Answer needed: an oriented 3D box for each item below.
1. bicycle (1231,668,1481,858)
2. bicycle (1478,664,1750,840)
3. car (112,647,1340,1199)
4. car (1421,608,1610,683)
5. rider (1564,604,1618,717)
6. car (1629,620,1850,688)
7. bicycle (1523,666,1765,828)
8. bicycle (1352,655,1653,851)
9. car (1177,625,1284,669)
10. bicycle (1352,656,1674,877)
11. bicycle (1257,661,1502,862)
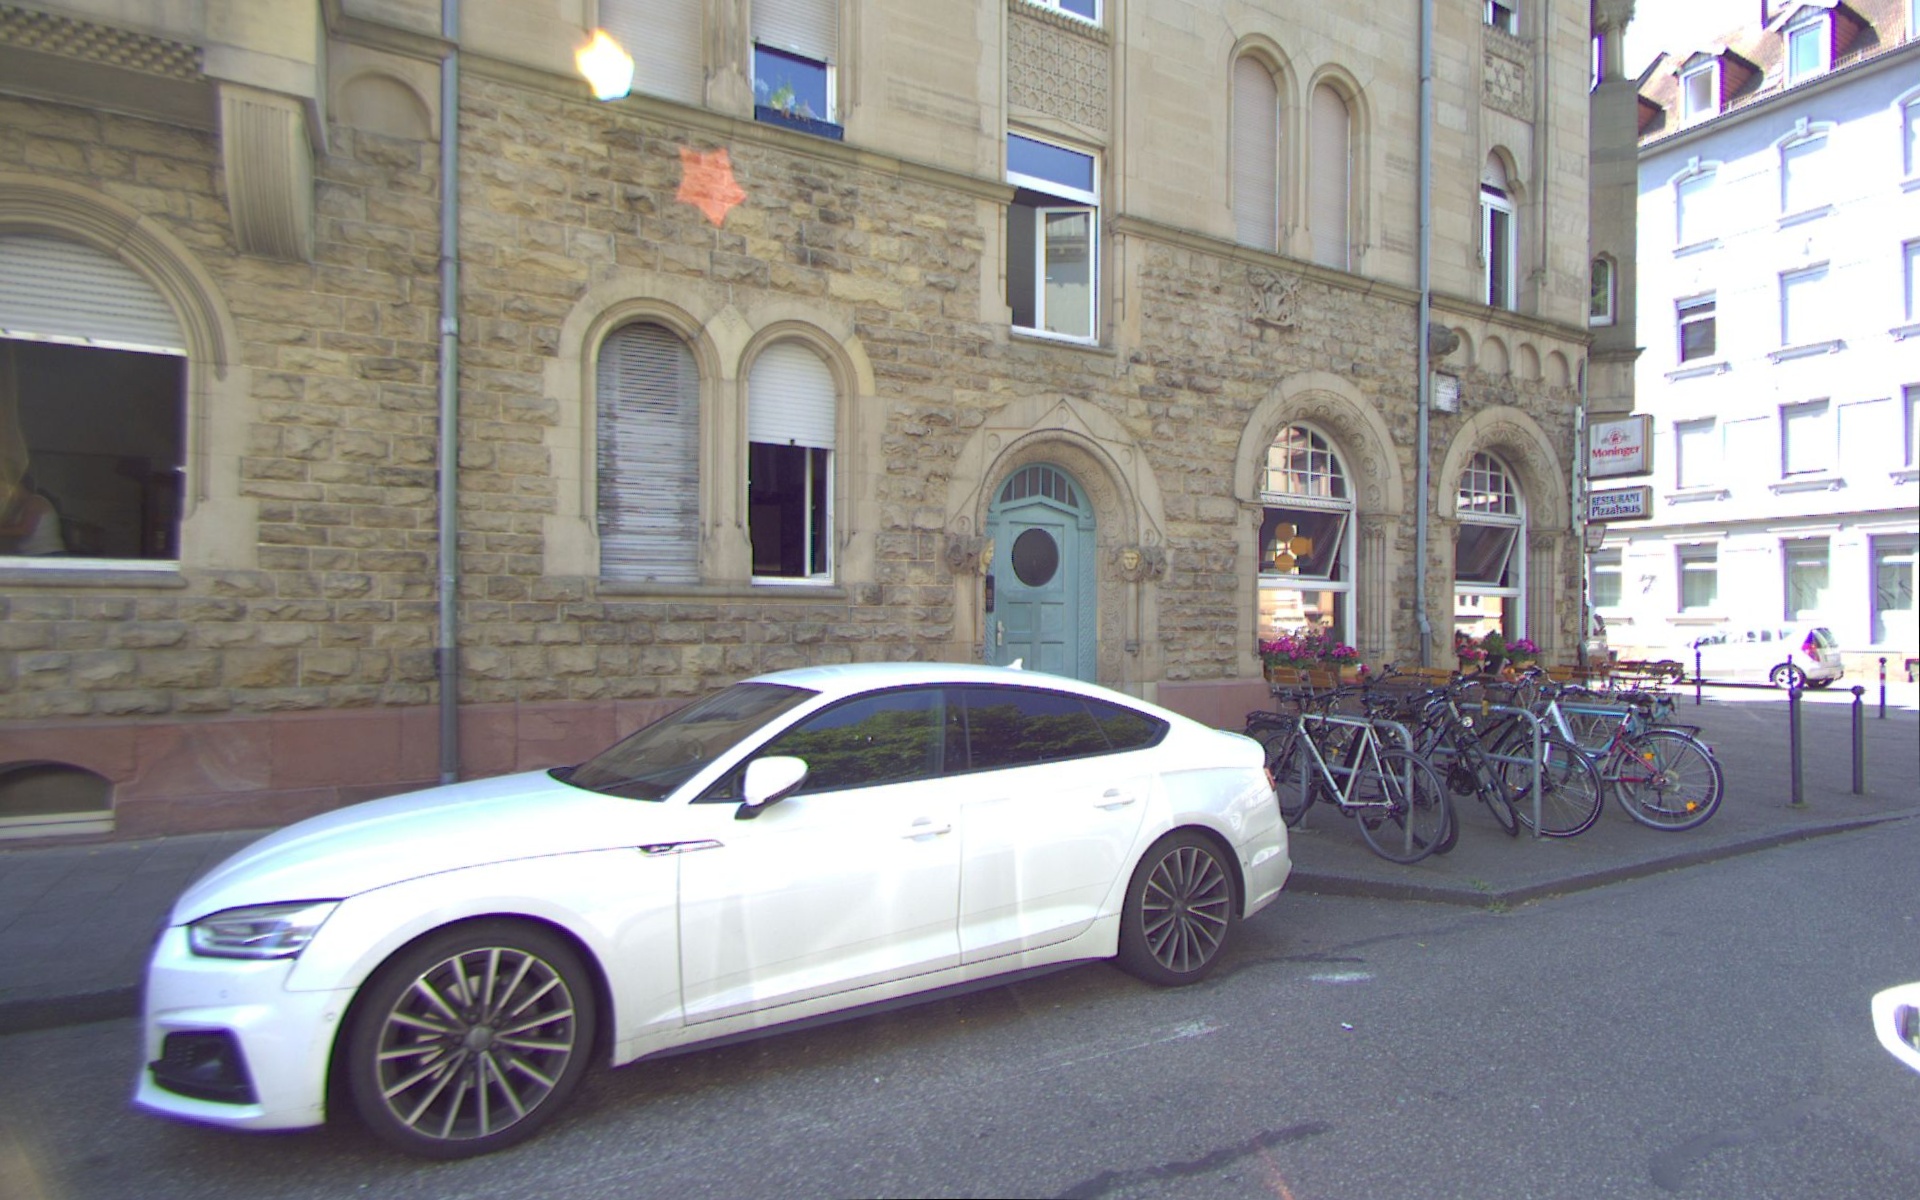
[{"bbox_3d":[2.574,1.023,6.745,0.289,1.114,1.694,1,-4,-32],"label":"bicycle"},{"bbox_3d":[4.878,1.084,7.617,0.409,1.059,1.695,1,1,-32],"label":"bicycle"},{"bbox_3d":[-0.552,0.910,4.321,4.464,1.370,1.693,1,-4,-31],"label":"car"},{"bbox_3d":[16.511,1.331,30.123,1.854,2.024,4.686,-1,-1,-29],"label":"car"},{"bbox_3d":[9.815,0.927,15.645,0.530,1.719,0.642,0,-2,16],"label":"rider"},{"bbox_3d":[19.489,1.319,25.311,1.785,1.582,4.029,1,-2,-29],"label":"car"},{"bbox_3d":[5.256,1.086,7.817,0.363,1.021,1.516,1,1,-32],"label":"bicycle"},{"bbox_3d":[3.886,1.033,7.395,0.431,1.144,1.984,1,0,-32],"label":"bicycle"},{"bbox_3d":[10.860,1.869,40.563,1.854,1.622,4.072,-1,-1,-29],"label":"car"},{"bbox_3d":[3.669,1.039,6.881,0.390,1.145,1.960,1,2,-32],"label":"bicycle"},{"bbox_3d":[2.818,1.035,6.936,0.289,1.115,1.693,1,0,-32],"label":"bicycle"}]
